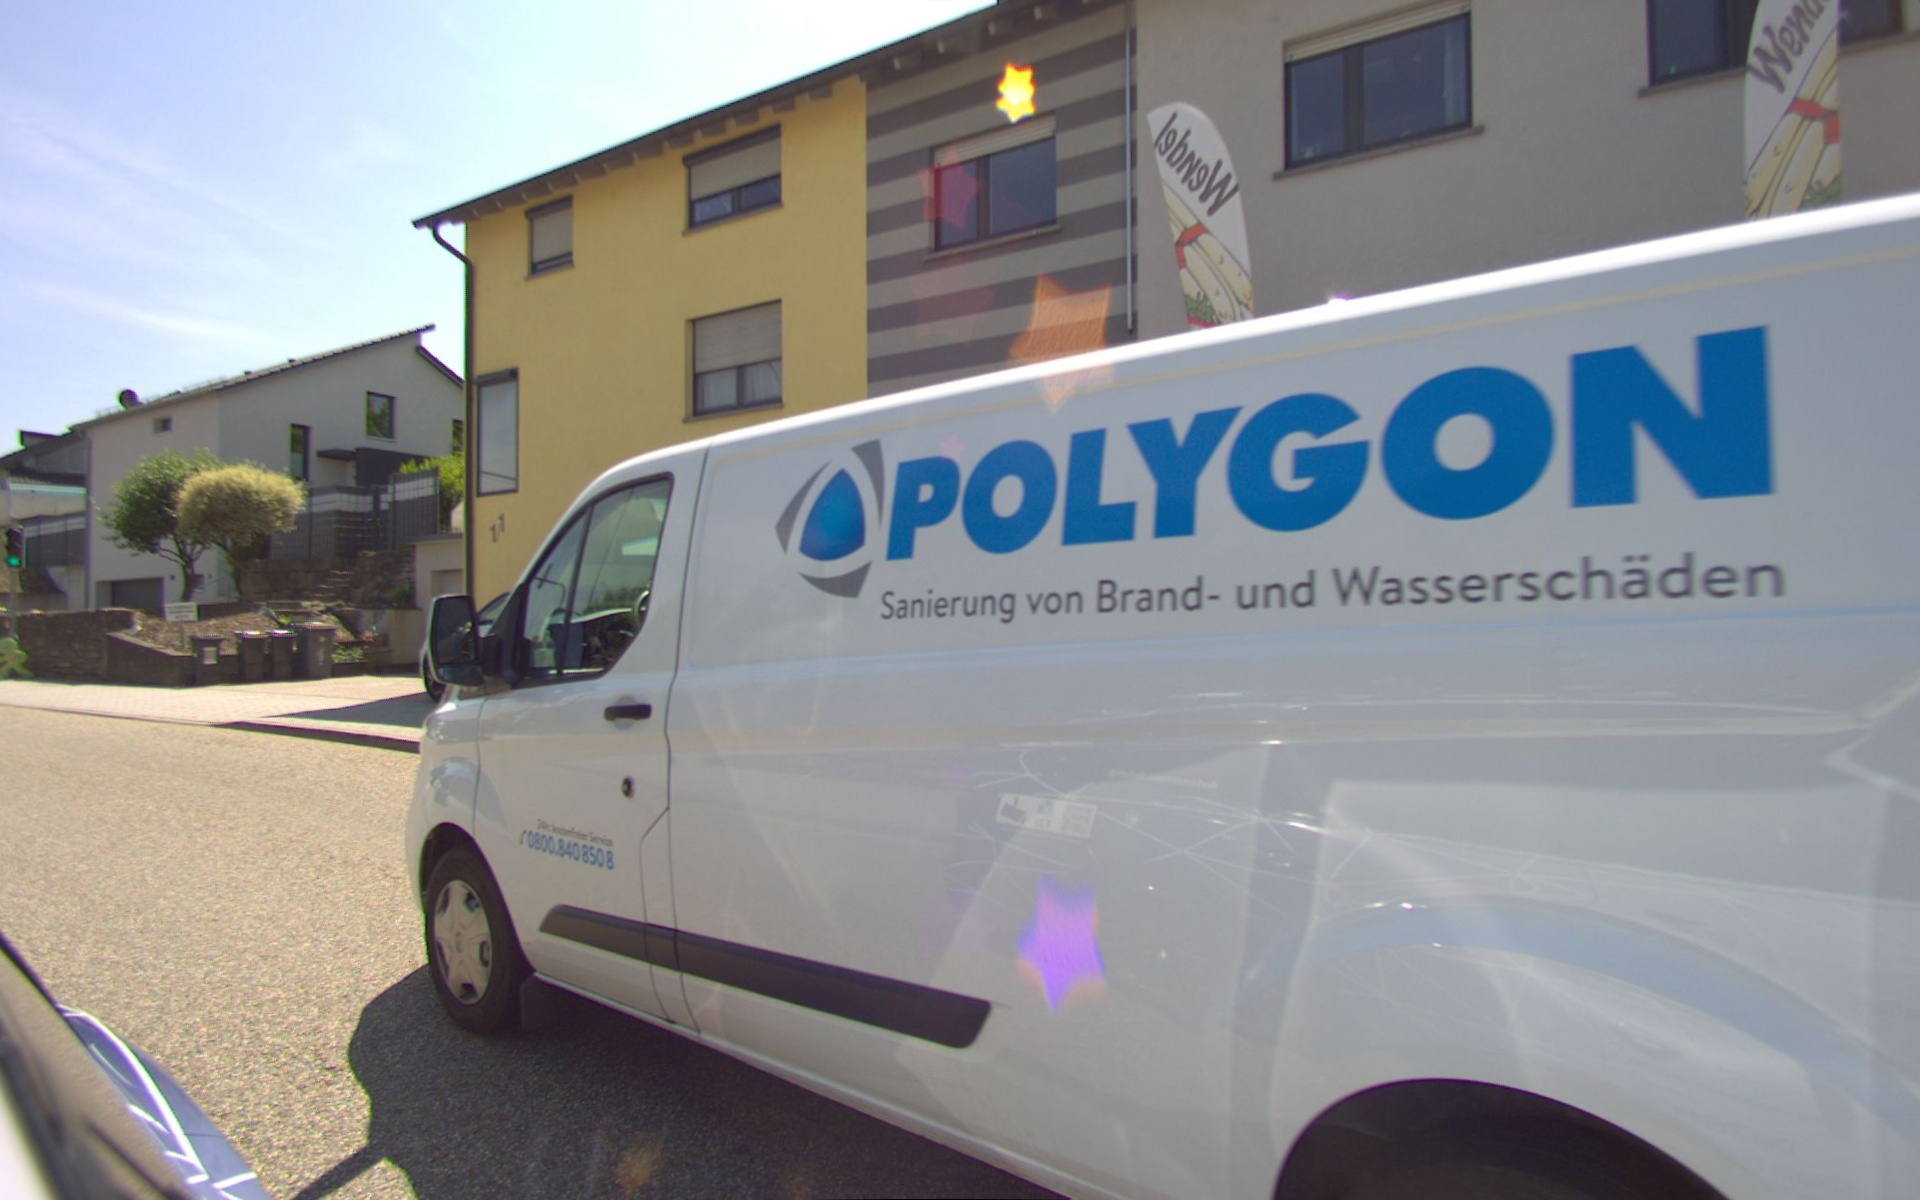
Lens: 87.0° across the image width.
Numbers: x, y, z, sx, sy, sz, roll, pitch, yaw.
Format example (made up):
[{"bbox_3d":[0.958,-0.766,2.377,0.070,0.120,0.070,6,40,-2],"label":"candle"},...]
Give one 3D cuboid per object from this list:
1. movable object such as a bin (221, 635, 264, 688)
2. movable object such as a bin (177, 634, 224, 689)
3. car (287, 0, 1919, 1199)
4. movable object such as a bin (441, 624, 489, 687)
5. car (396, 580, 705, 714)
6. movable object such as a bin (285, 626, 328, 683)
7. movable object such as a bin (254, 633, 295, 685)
[{"bbox_3d":[-13.135,1.120,18.526,0.559,0.935,0.444,-1,-1,30],"label":"movable object such as a bin"},{"bbox_3d":[-13.441,1.078,17.919,0.551,0.955,0.497,-1,-1,30],"label":"movable object such as a bin"},{"bbox_3d":[0.114,0.347,2.963,5.208,2.015,1.974,-1,0,39],"label":"car"},{"bbox_3d":[-8.501,0.939,17.396,0.605,1.051,0.497,-1,-1,30],"label":"movable object such as a bin"},{"bbox_3d":[-5.560,0.582,13.591,4.173,1.564,1.717,-1,-1,31],"label":"car"},{"bbox_3d":[-12.545,1.037,19.426,0.631,1.063,0.467,-1,-1,30],"label":"movable object such as a bin"},{"bbox_3d":[-12.852,1.093,18.975,0.529,0.945,0.444,-1,-1,30],"label":"movable object such as a bin"}]
